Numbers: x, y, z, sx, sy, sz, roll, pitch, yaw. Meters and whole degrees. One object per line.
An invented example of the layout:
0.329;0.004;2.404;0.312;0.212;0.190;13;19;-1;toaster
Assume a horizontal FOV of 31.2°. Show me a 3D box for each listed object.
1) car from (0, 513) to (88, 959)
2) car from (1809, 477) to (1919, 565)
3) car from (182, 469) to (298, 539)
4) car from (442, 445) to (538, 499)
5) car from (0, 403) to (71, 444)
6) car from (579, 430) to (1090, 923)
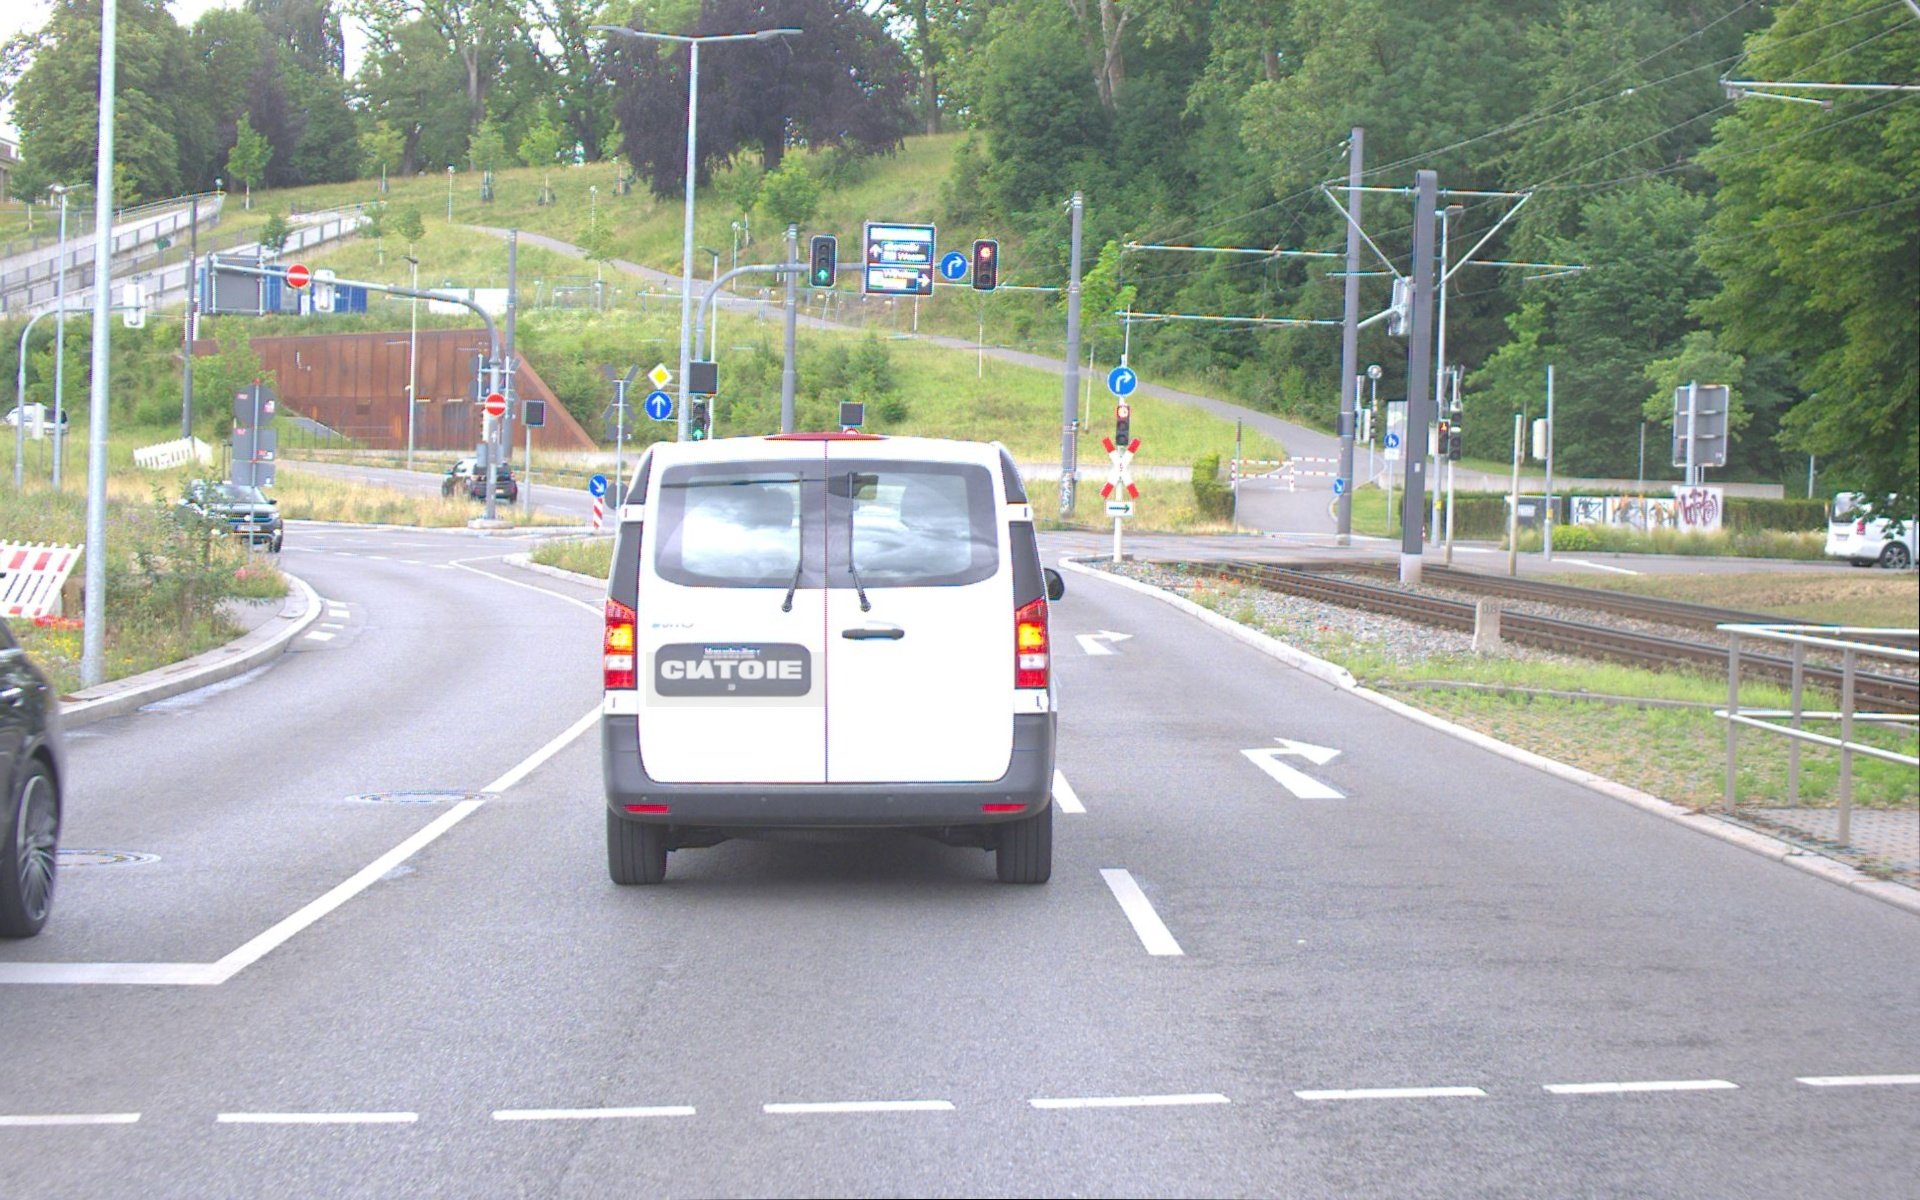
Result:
-4.120;0.475;10.830;1.730;1.523;4.445;0;1;-2;car
23.415;-1.827;82.945;5.133;2.007;2.209;3;1;-10;car
-15.906;-2.128;75.841;1.877;1.472;4.001;0;2;-21;car
-15.624;-4.262;114.192;1.937;1.621;4.001;2;2;-26;car
-39.855;-7.597;147.736;1.937;1.621;4.000;2;2;-33;car
-0.606;0.236;15.592;1.959;1.897;4.462;1;2;-3;car
